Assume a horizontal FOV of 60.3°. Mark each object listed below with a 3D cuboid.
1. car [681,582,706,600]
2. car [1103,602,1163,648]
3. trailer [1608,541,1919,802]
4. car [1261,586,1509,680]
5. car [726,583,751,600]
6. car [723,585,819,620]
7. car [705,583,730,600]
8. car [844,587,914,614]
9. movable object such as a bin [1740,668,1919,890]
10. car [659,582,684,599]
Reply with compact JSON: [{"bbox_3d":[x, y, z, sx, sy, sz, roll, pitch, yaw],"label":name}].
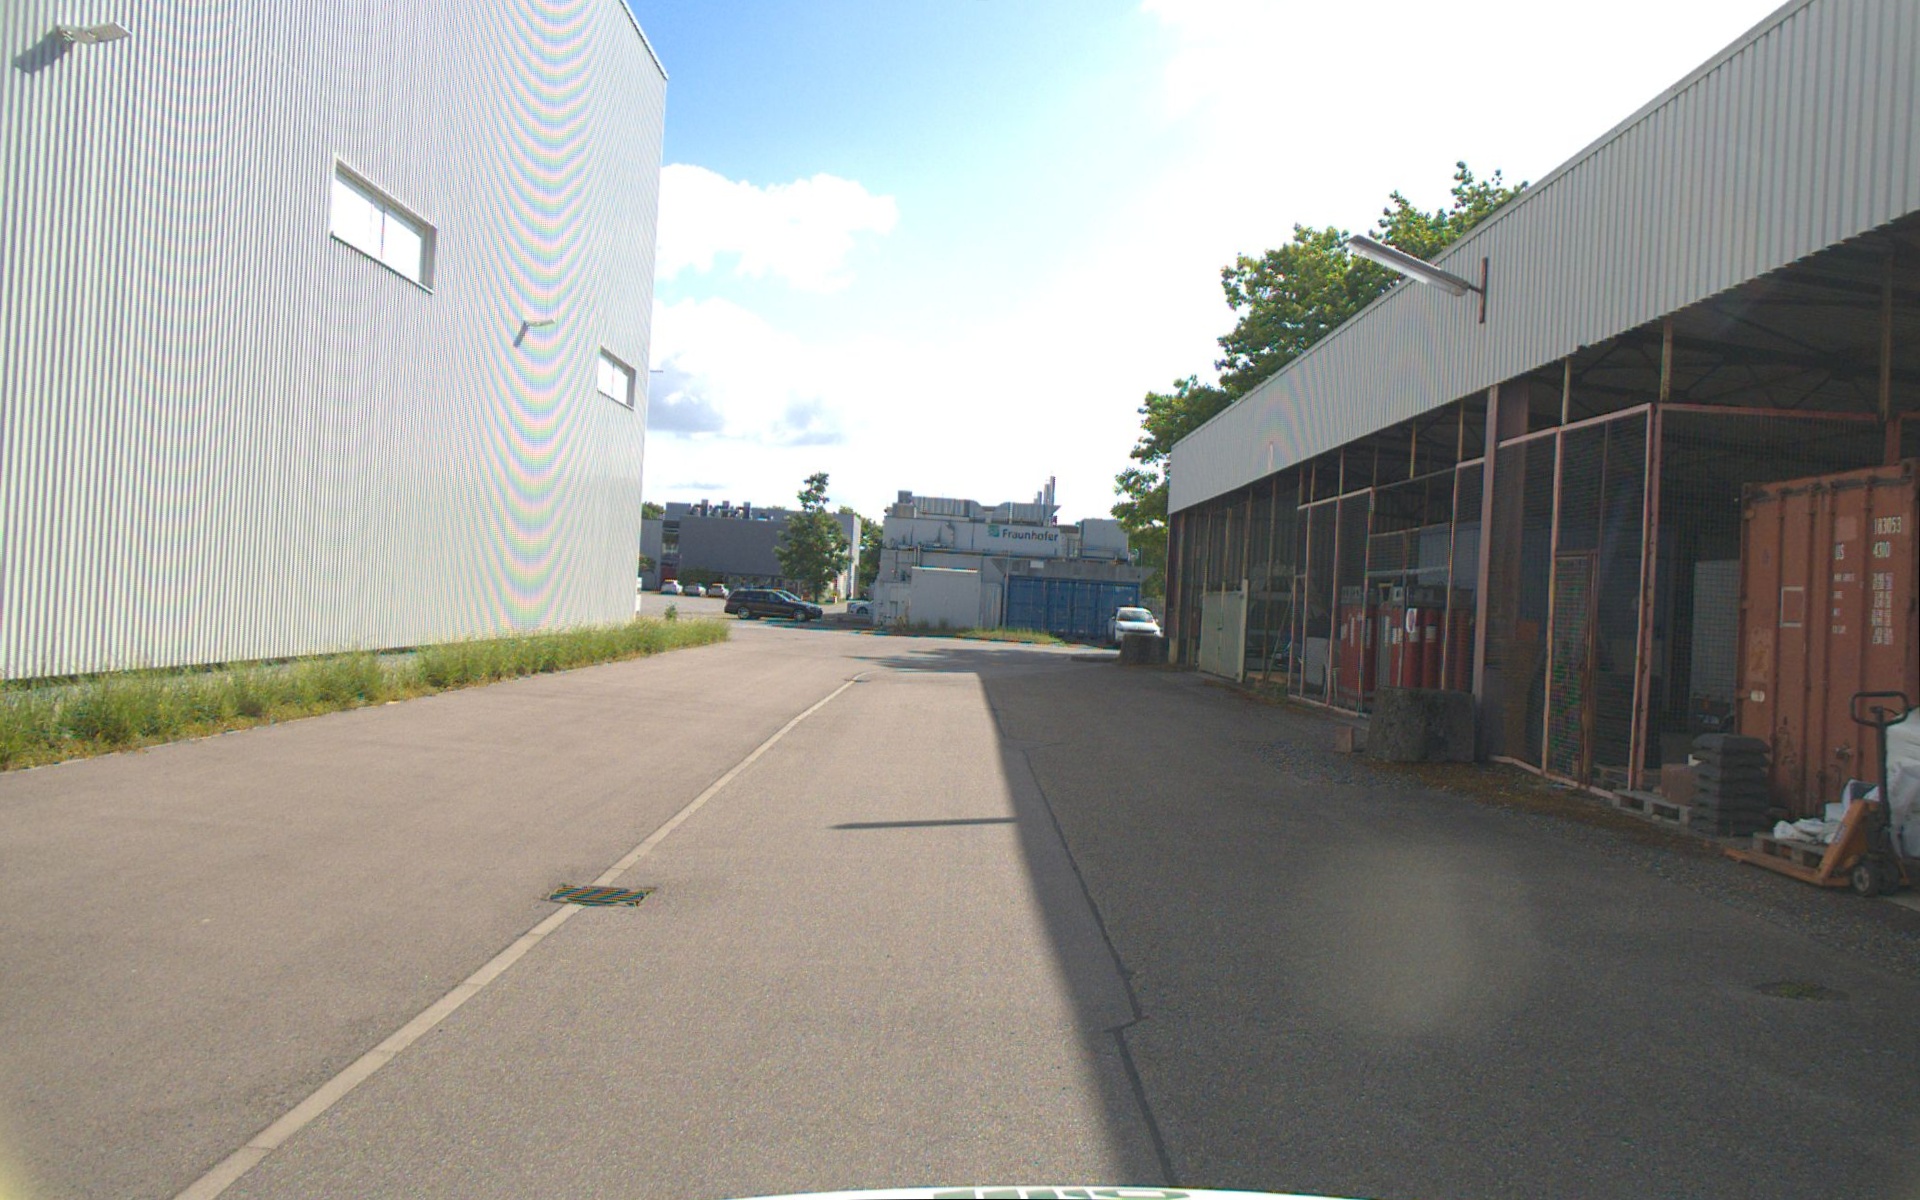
[{"bbox_3d":[-28.602,-0.962,177.612,1.953,1.766,3.999,1,0,-1],"label":"car"},{"bbox_3d":[7.119,1.009,68.488,1.953,1.613,4.172,3,2,-1],"label":"car"},{"bbox_3d":[7.874,0.594,15.547,1.818,2.094,4.098,2,0,-2],"label":"trailer"},{"bbox_3d":[9.779,0.756,38.233,5.136,1.909,1.997,2,0,-6],"label":"car"},{"bbox_3d":[-23.556,-0.925,176.305,2.149,1.766,3.999,1,0,-1],"label":"car"},{"bbox_3d":[-9.236,0.121,81.053,4.432,1.534,1.909,2,0,1],"label":"car"},{"bbox_3d":[-26.071,-0.937,177.985,2.149,1.766,3.999,1,0,-1],"label":"car"},{"bbox_3d":[-5.310,0.043,108.697,4.433,1.534,1.909,3,0,0],"label":"car"},{"bbox_3d":[5.256,1.037,9.957,0.569,1.185,1.238,2,0,4],"label":"movable object such as a bin"},{"bbox_3d":[-31.050,-1.013,177.934,1.953,1.766,3.999,1,0,-1],"label":"car"}]
